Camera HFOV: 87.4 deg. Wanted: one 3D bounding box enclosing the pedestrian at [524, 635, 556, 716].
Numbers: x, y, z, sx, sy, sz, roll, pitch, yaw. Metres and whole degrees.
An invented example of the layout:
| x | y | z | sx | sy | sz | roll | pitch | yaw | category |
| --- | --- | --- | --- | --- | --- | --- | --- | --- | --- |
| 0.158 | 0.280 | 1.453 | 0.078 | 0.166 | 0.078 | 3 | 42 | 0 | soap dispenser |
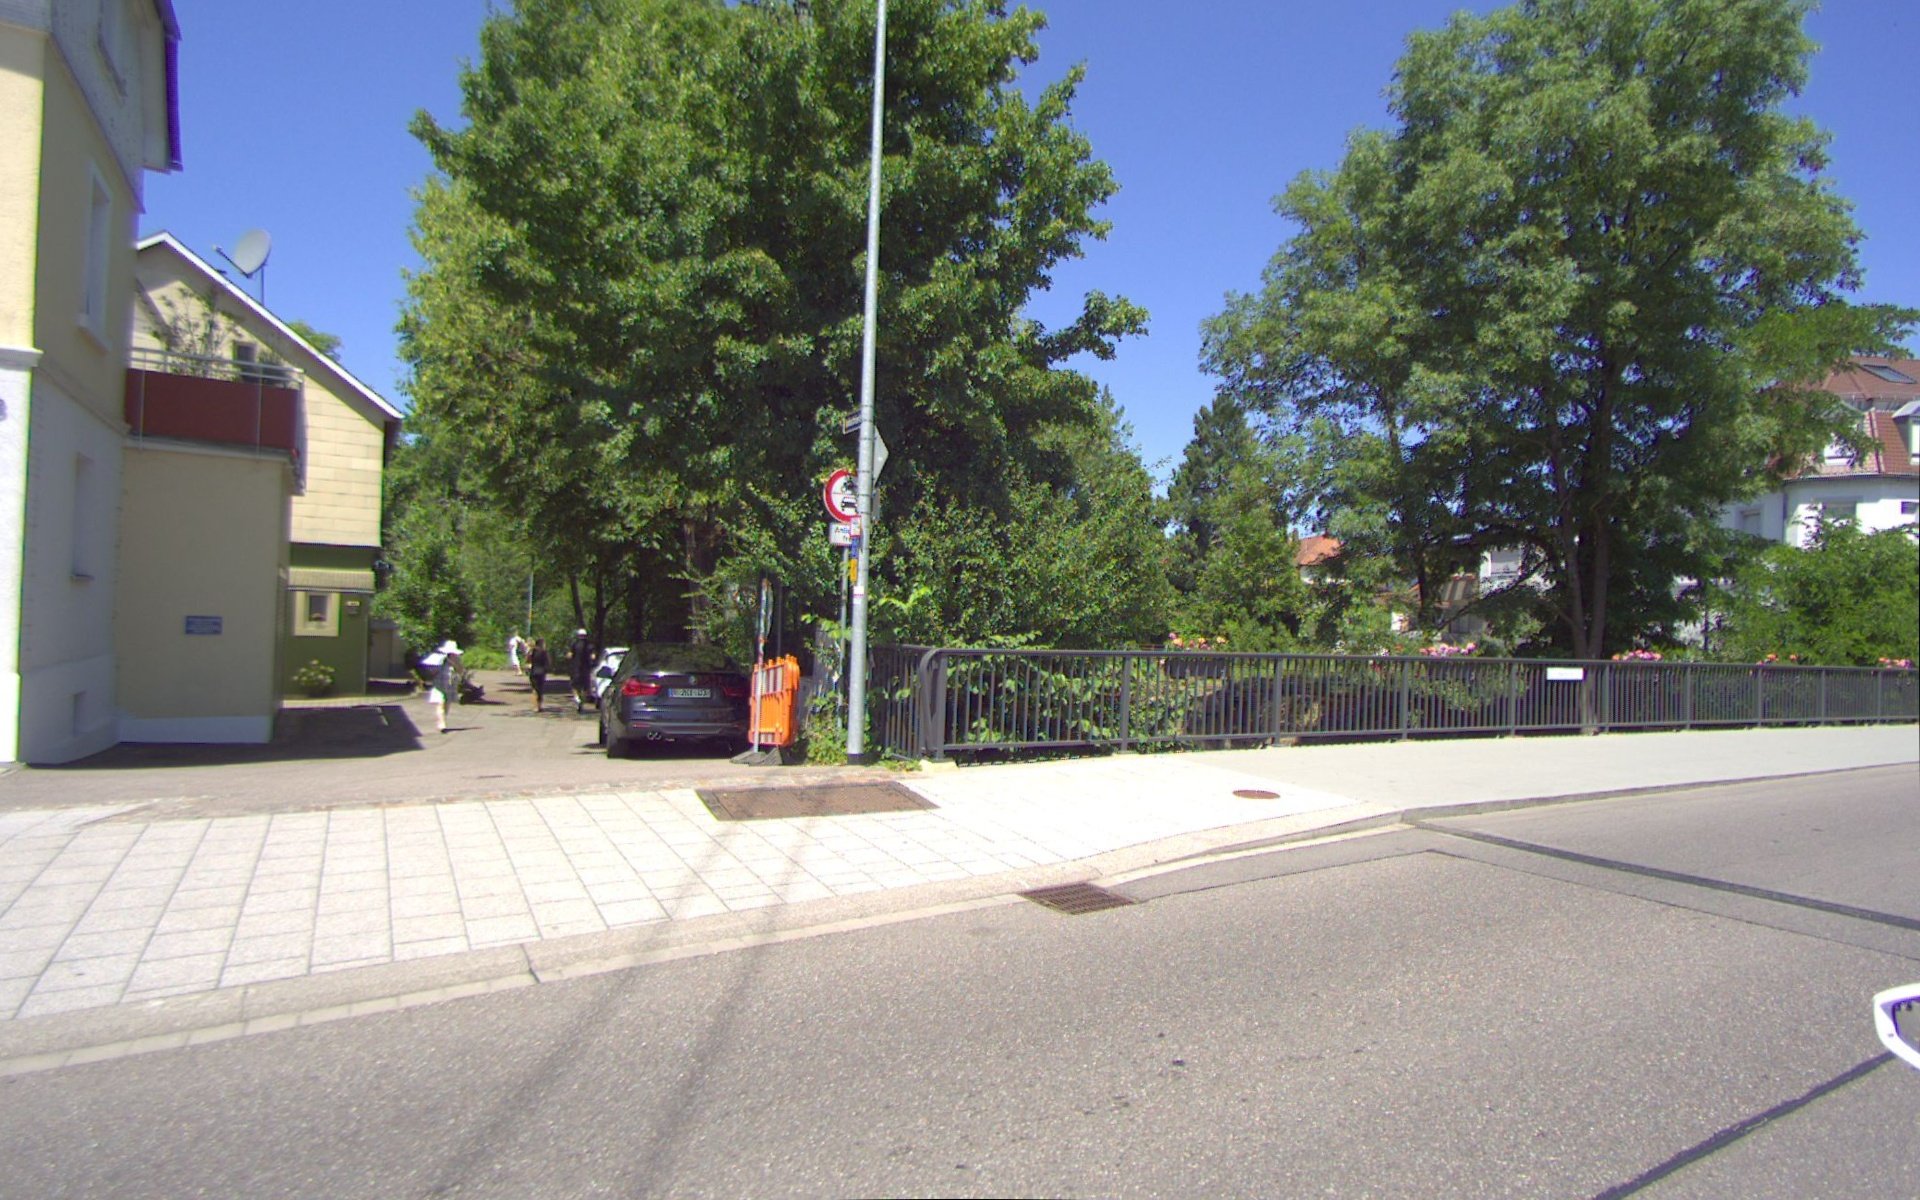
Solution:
| x | y | z | sx | sy | sz | roll | pitch | yaw | category |
| --- | --- | --- | --- | --- | --- | --- | --- | --- | --- |
| -9.327 | 1.651 | 22.295 | 0.593 | 1.747 | 0.850 | 2 | -2 | -25 | pedestrian |

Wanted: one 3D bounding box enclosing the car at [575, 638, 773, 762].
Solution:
| x | y | z | sx | sy | sz | roll | pitch | yaw | category |
| --- | --- | --- | --- | --- | --- | --- | --- | --- | --- |
| -4.182 | 1.377 | 14.150 | 1.973 | 1.437 | 4.516 | 2 | -5 | -25 | car |

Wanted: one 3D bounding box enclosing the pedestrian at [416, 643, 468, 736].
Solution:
| x | y | z | sx | sy | sz | roll | pitch | yaw | category |
| --- | --- | --- | --- | --- | --- | --- | --- | --- | --- |
| -8.846 | 1.500 | 17.174 | 0.730 | 1.523 | 0.905 | 2 | -2 | -27 | pedestrian |

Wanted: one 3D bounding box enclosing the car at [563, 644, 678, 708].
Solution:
| x | y | z | sx | sy | sz | roll | pitch | yaw | category |
| --- | --- | --- | --- | --- | --- | --- | --- | --- | --- |
| -8.863 | 1.934 | 26.021 | 1.978 | 1.496 | 3.967 | 4 | -4 | -31 | car |

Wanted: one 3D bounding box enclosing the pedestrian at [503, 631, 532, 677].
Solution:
| x | y | z | sx | sy | sz | roll | pitch | yaw | category |
| --- | --- | --- | --- | --- | --- | --- | --- | --- | --- |
| -18.075 | 2.195 | 41.034 | 0.842 | 1.845 | 0.732 | -1 | -2 | 39 | pedestrian |

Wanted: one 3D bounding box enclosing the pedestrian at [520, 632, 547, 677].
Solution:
| x | y | z | sx | sy | sz | roll | pitch | yaw | category |
| --- | --- | --- | --- | --- | --- | --- | --- | --- | --- |
| -17.653 | 2.244 | 41.580 | 0.842 | 1.845 | 0.701 | -1 | -2 | 39 | pedestrian |

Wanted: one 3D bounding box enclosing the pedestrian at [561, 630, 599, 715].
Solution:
| x | y | z | sx | sy | sz | roll | pitch | yaw | category |
| --- | --- | --- | --- | --- | --- | --- | --- | --- | --- |
| -8.513 | 1.610 | 22.510 | 0.695 | 1.845 | 0.850 | 2 | -2 | -25 | pedestrian |
